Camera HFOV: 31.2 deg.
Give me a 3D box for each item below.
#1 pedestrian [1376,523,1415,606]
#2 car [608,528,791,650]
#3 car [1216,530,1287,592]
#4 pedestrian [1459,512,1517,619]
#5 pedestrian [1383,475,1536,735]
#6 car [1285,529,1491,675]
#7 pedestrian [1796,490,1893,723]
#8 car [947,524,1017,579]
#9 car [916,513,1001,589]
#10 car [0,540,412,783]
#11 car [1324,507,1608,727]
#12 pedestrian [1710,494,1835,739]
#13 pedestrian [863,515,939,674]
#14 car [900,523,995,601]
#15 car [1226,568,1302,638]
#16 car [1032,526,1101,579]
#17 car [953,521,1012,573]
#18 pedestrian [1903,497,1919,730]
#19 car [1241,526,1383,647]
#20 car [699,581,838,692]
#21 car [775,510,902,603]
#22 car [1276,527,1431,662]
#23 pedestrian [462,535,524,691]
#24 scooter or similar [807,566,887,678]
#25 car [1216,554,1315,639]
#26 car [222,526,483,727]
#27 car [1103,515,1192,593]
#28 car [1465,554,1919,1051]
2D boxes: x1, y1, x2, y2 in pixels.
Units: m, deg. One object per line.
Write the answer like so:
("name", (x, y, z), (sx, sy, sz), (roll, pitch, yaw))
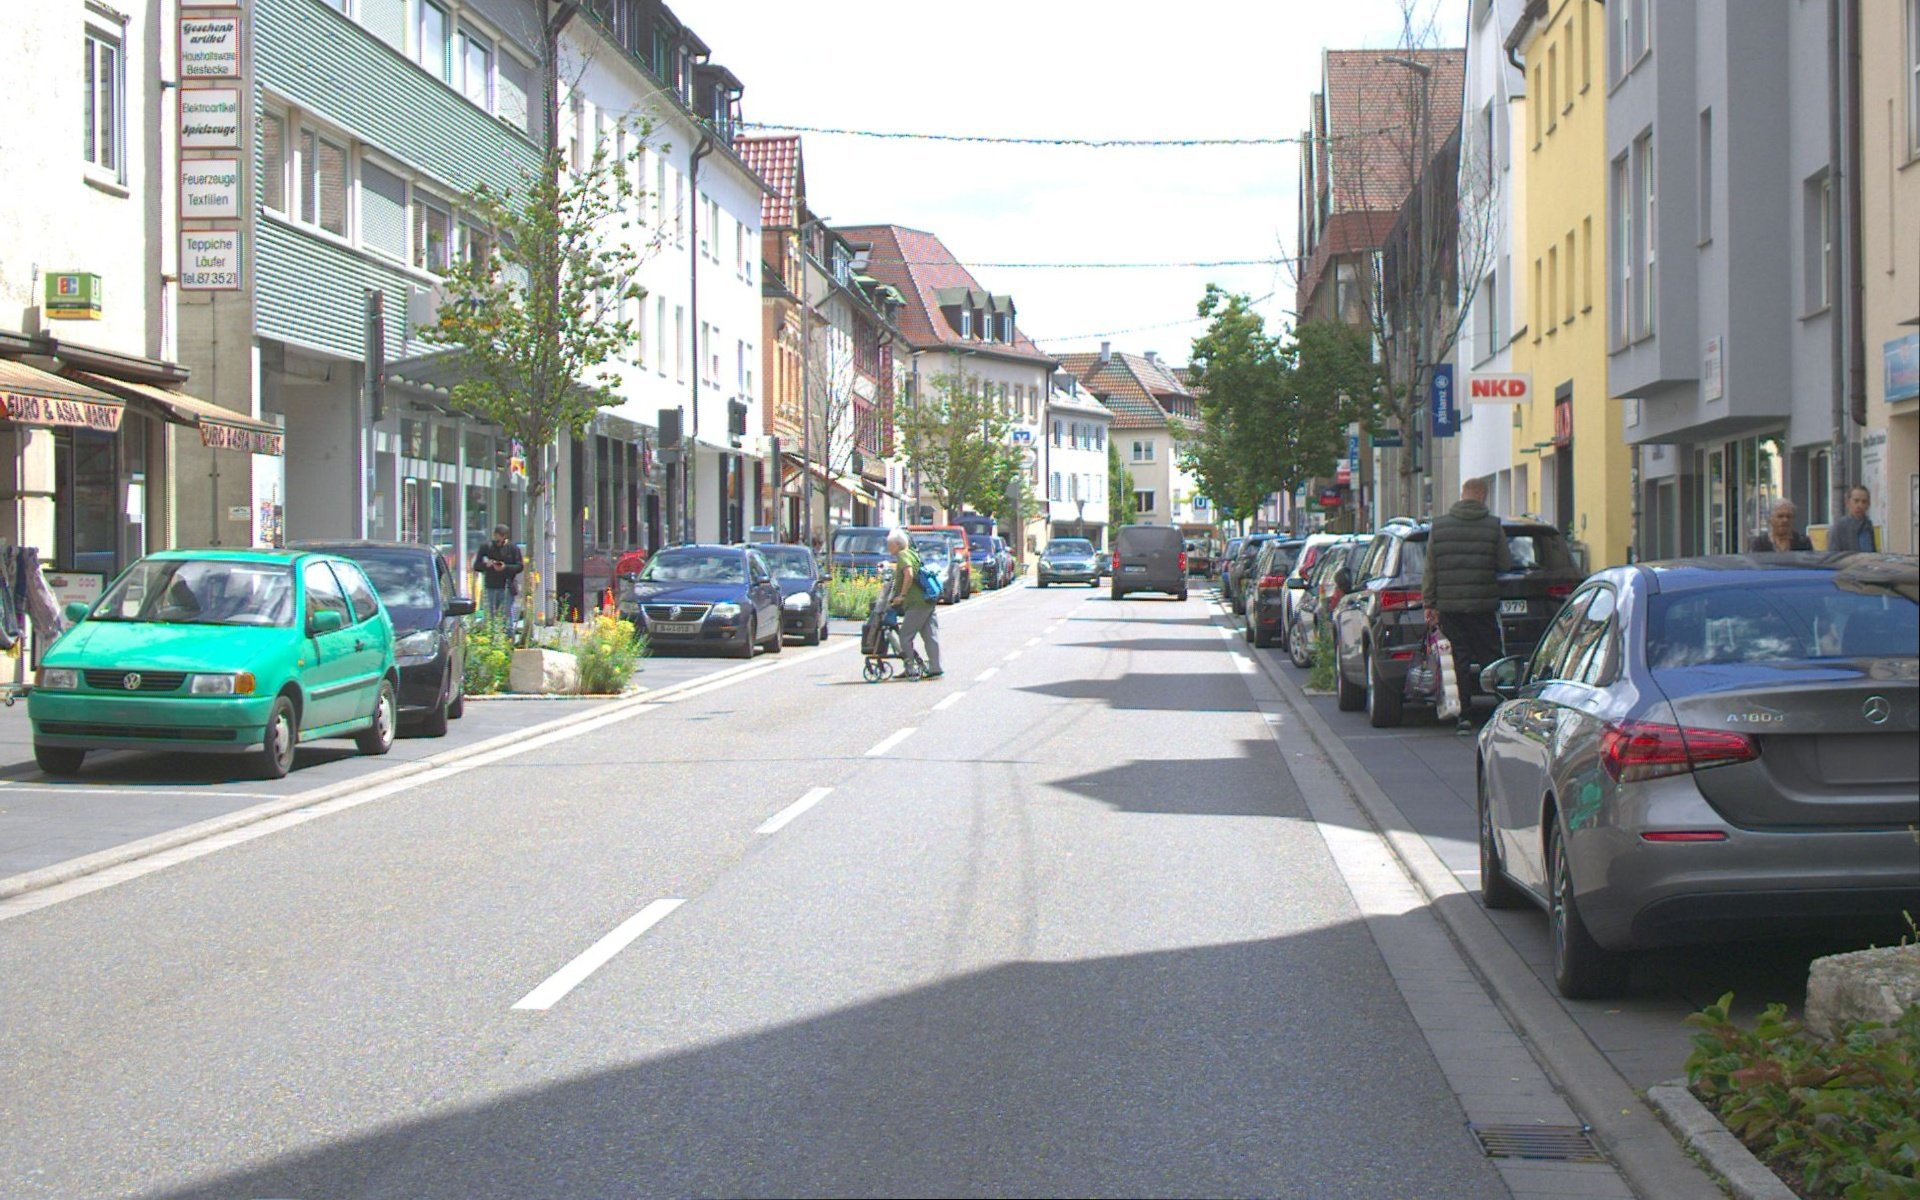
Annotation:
("pedestrian", (9.265, -0.760, 73.102), (0.741, 1.731, 0.757), (2, 0, 4))
("car", (-3.416, -0.178, 45.825), (1.790, 1.507, 4.712), (1, 1, 4))
("car", (7.455, -0.985, 87.898), (1.721, 1.488, 4.108), (2, 0, 5))
("pedestrian", (7.718, -0.503, 50.270), (0.750, 1.548, 0.726), (0, 0, 3))
("pedestrian", (3.668, 0.037, 25.321), (0.975, 1.857, 0.864), (-2, 0, 2))
("car", (4.617, 0.008, 37.576), (1.689, 1.435, 4.296), (-2, 0, 0))
("pedestrian", (6.621, 0.048, 25.747), (0.535, 1.712, 0.606), (2, 0, 2))
("car", (0.675, -1.452, 102.072), (1.799, 1.592, 4.388), (1, 1, 4))
("car", (-0.010, -1.258, 89.538), (1.816, 1.882, 4.840), (2, 0, 4))
("car", (-4.837, 0.355, 22.432), (1.586, 1.409, 3.668), (2, 0, 6))
("car", (4.006, 0.082, 27.800), (1.799, 1.598, 4.204), (-2, 1, 2))
("pedestrian", (5.746, 0.111, 24.334), (0.743, 1.712, 0.656), (0, 0, 2))
("pedestrian", (-0.609, -0.058, 35.594), (0.731, 1.612, 0.651), (2, 0, -1))
("car", (-0.267, -0.884, 81.566), (1.816, 1.749, 4.463), (2, 0, 5))
("car", (7.270, 0.057, 82.229), (1.721, 1.571, 4.428), (2, 0, 5))
("car", (3.320, -1.460, 106.603), (1.905, 1.558, 4.645), (2, 0, 4))
("car", (0.715, -1.672, 107.641), (1.799, 1.598, 4.351), (0, 1, 1))
("pedestrian", (7.267, 0.100, 25.363), (0.435, 1.712, 0.537), (2, 0, 1))
("car", (4.844, -0.226, 47.785), (1.689, 1.467, 4.524), (2, 2, 3))
("car", (-2.842, 0.519, 51.852), (1.790, 1.498, 4.178), (2, 1, 0))
("car", (-2.376, -0.848, 68.506), (1.816, 1.749, 4.667), (2, 0, 6))
("car", (4.896, -0.082, 43.124), (1.689, 1.568, 3.756), (2, 0, 3))
("pedestrian", (-5.355, 0.144, 39.442), (0.548, 1.751, 0.729), (2, 0, 1))
("scooter or similar", (-1.167, 0.221, 35.570), (0.781, 1.122, 0.630), (2, 0, -1))
("car", (5.997, -0.086, 67.812), (1.721, 1.571, 4.109), (2, 0, 2))
("car", (-4.744, 0.182, 27.246), (1.597, 1.441, 3.557), (2, 0, -3))
("car", (4.727, -1.135, 85.962), (2.041, 1.842, 4.998), (2, 0, 5))
("car", (2.759, 0.588, 12.169), (1.707, 1.415, 4.317), (2, 0, 6))
